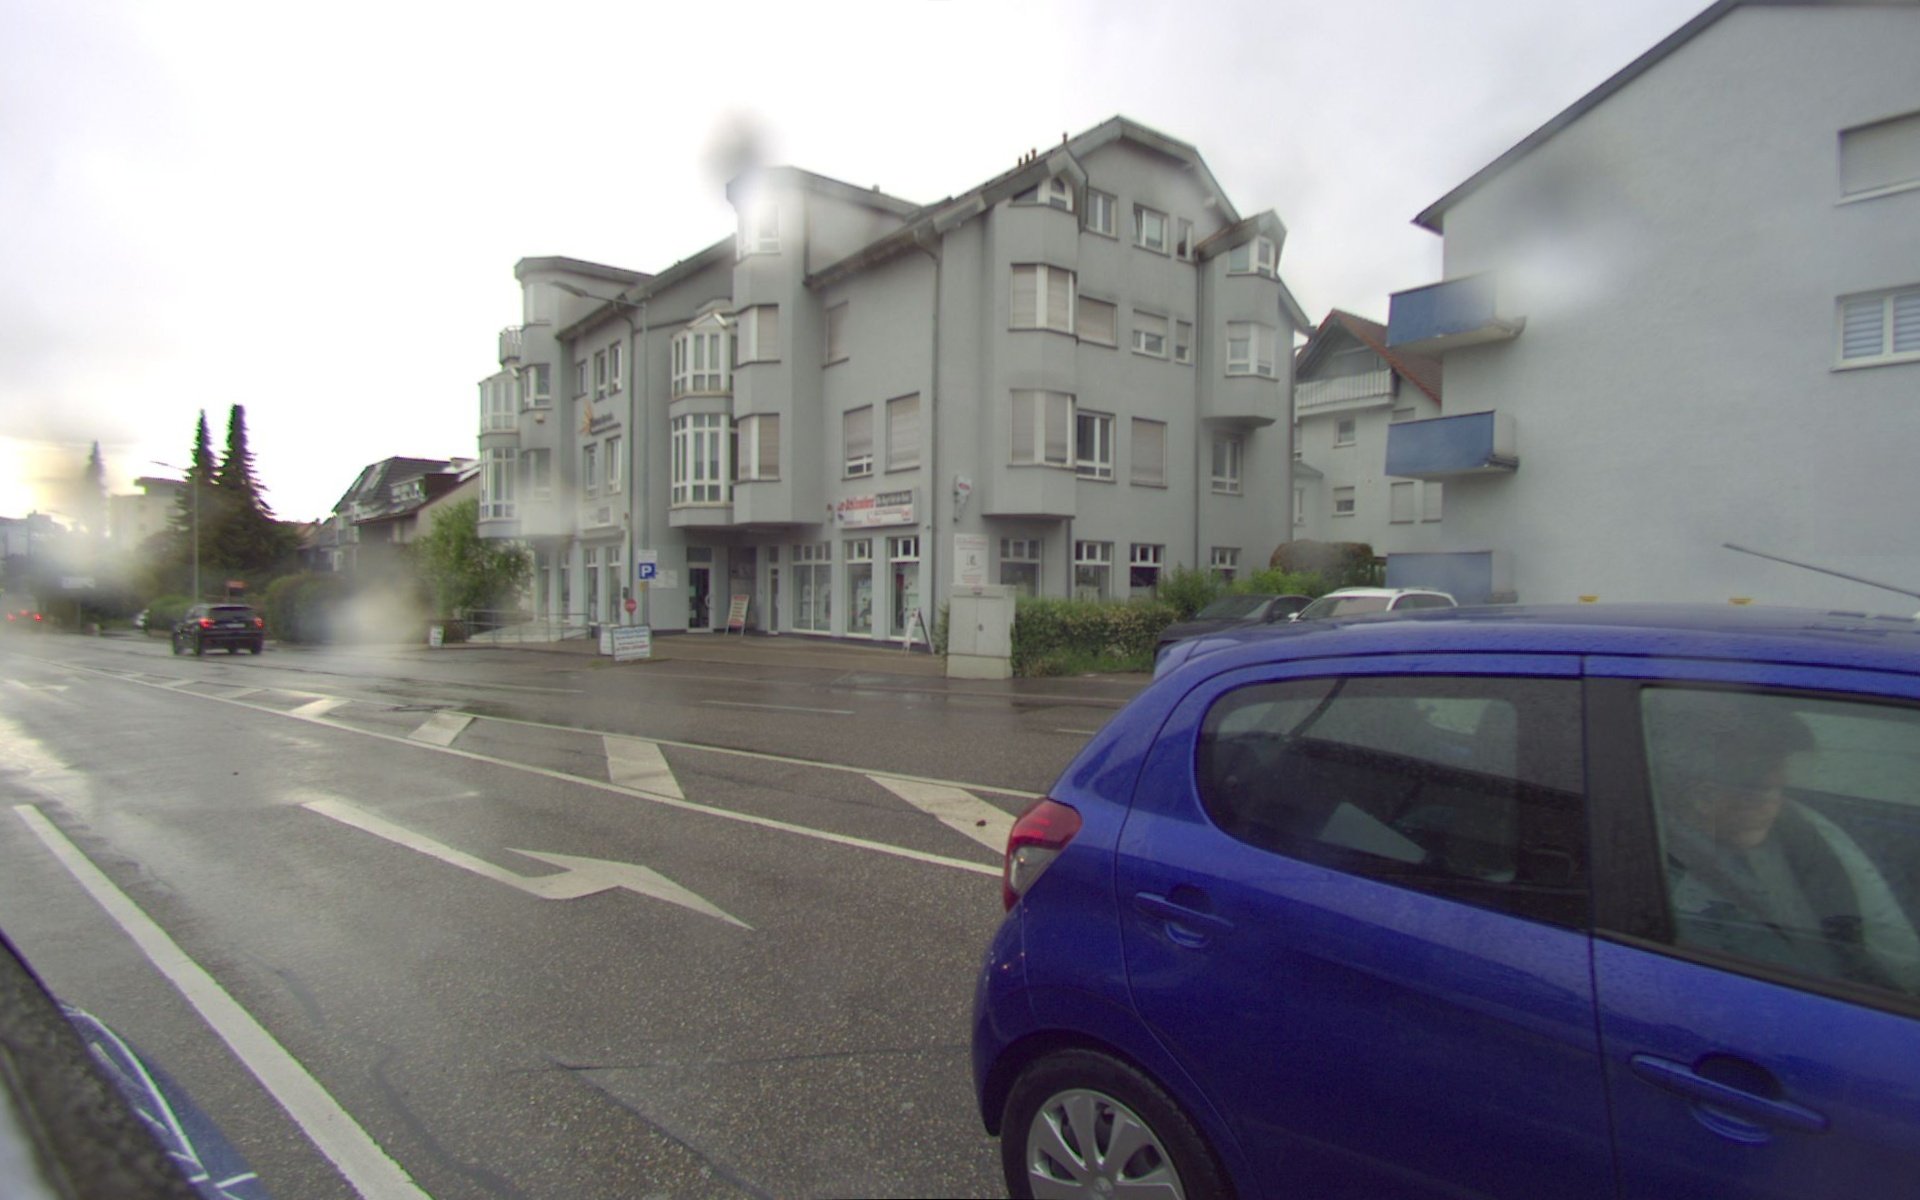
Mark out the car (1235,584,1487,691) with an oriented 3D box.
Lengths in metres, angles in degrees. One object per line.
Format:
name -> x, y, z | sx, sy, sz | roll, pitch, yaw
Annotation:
car -> 6.536, 0.537, 16.219 | 4.685, 1.471, 1.883 | 0, -1, -42

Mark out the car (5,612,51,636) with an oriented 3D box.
car -> -64.037, 1.618, 69.515 | 3.999, 1.523, 1.946 | 0, 1, 42

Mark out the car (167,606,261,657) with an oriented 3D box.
car -> -25.038, 1.023, 33.920 | 4.185, 1.609, 1.858 | -1, -1, 44

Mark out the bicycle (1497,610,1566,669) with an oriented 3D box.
bicycle -> 10.703, 0.730, 18.967 | 1.065, 1.061, 0.343 | -2, -1, 41

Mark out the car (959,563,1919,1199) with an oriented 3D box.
car -> 1.755, 0.655, 1.623 | 3.362, 1.423, 1.489 | -1, 0, 41

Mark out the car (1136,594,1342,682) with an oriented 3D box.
car -> 5.051, 0.596, 18.068 | 3.941, 1.366, 1.851 | -1, 1, -45

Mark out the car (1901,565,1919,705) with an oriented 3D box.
car -> 13.135, 0.385, 12.310 | 3.936, 1.627, 1.917 | -1, 1, -39
